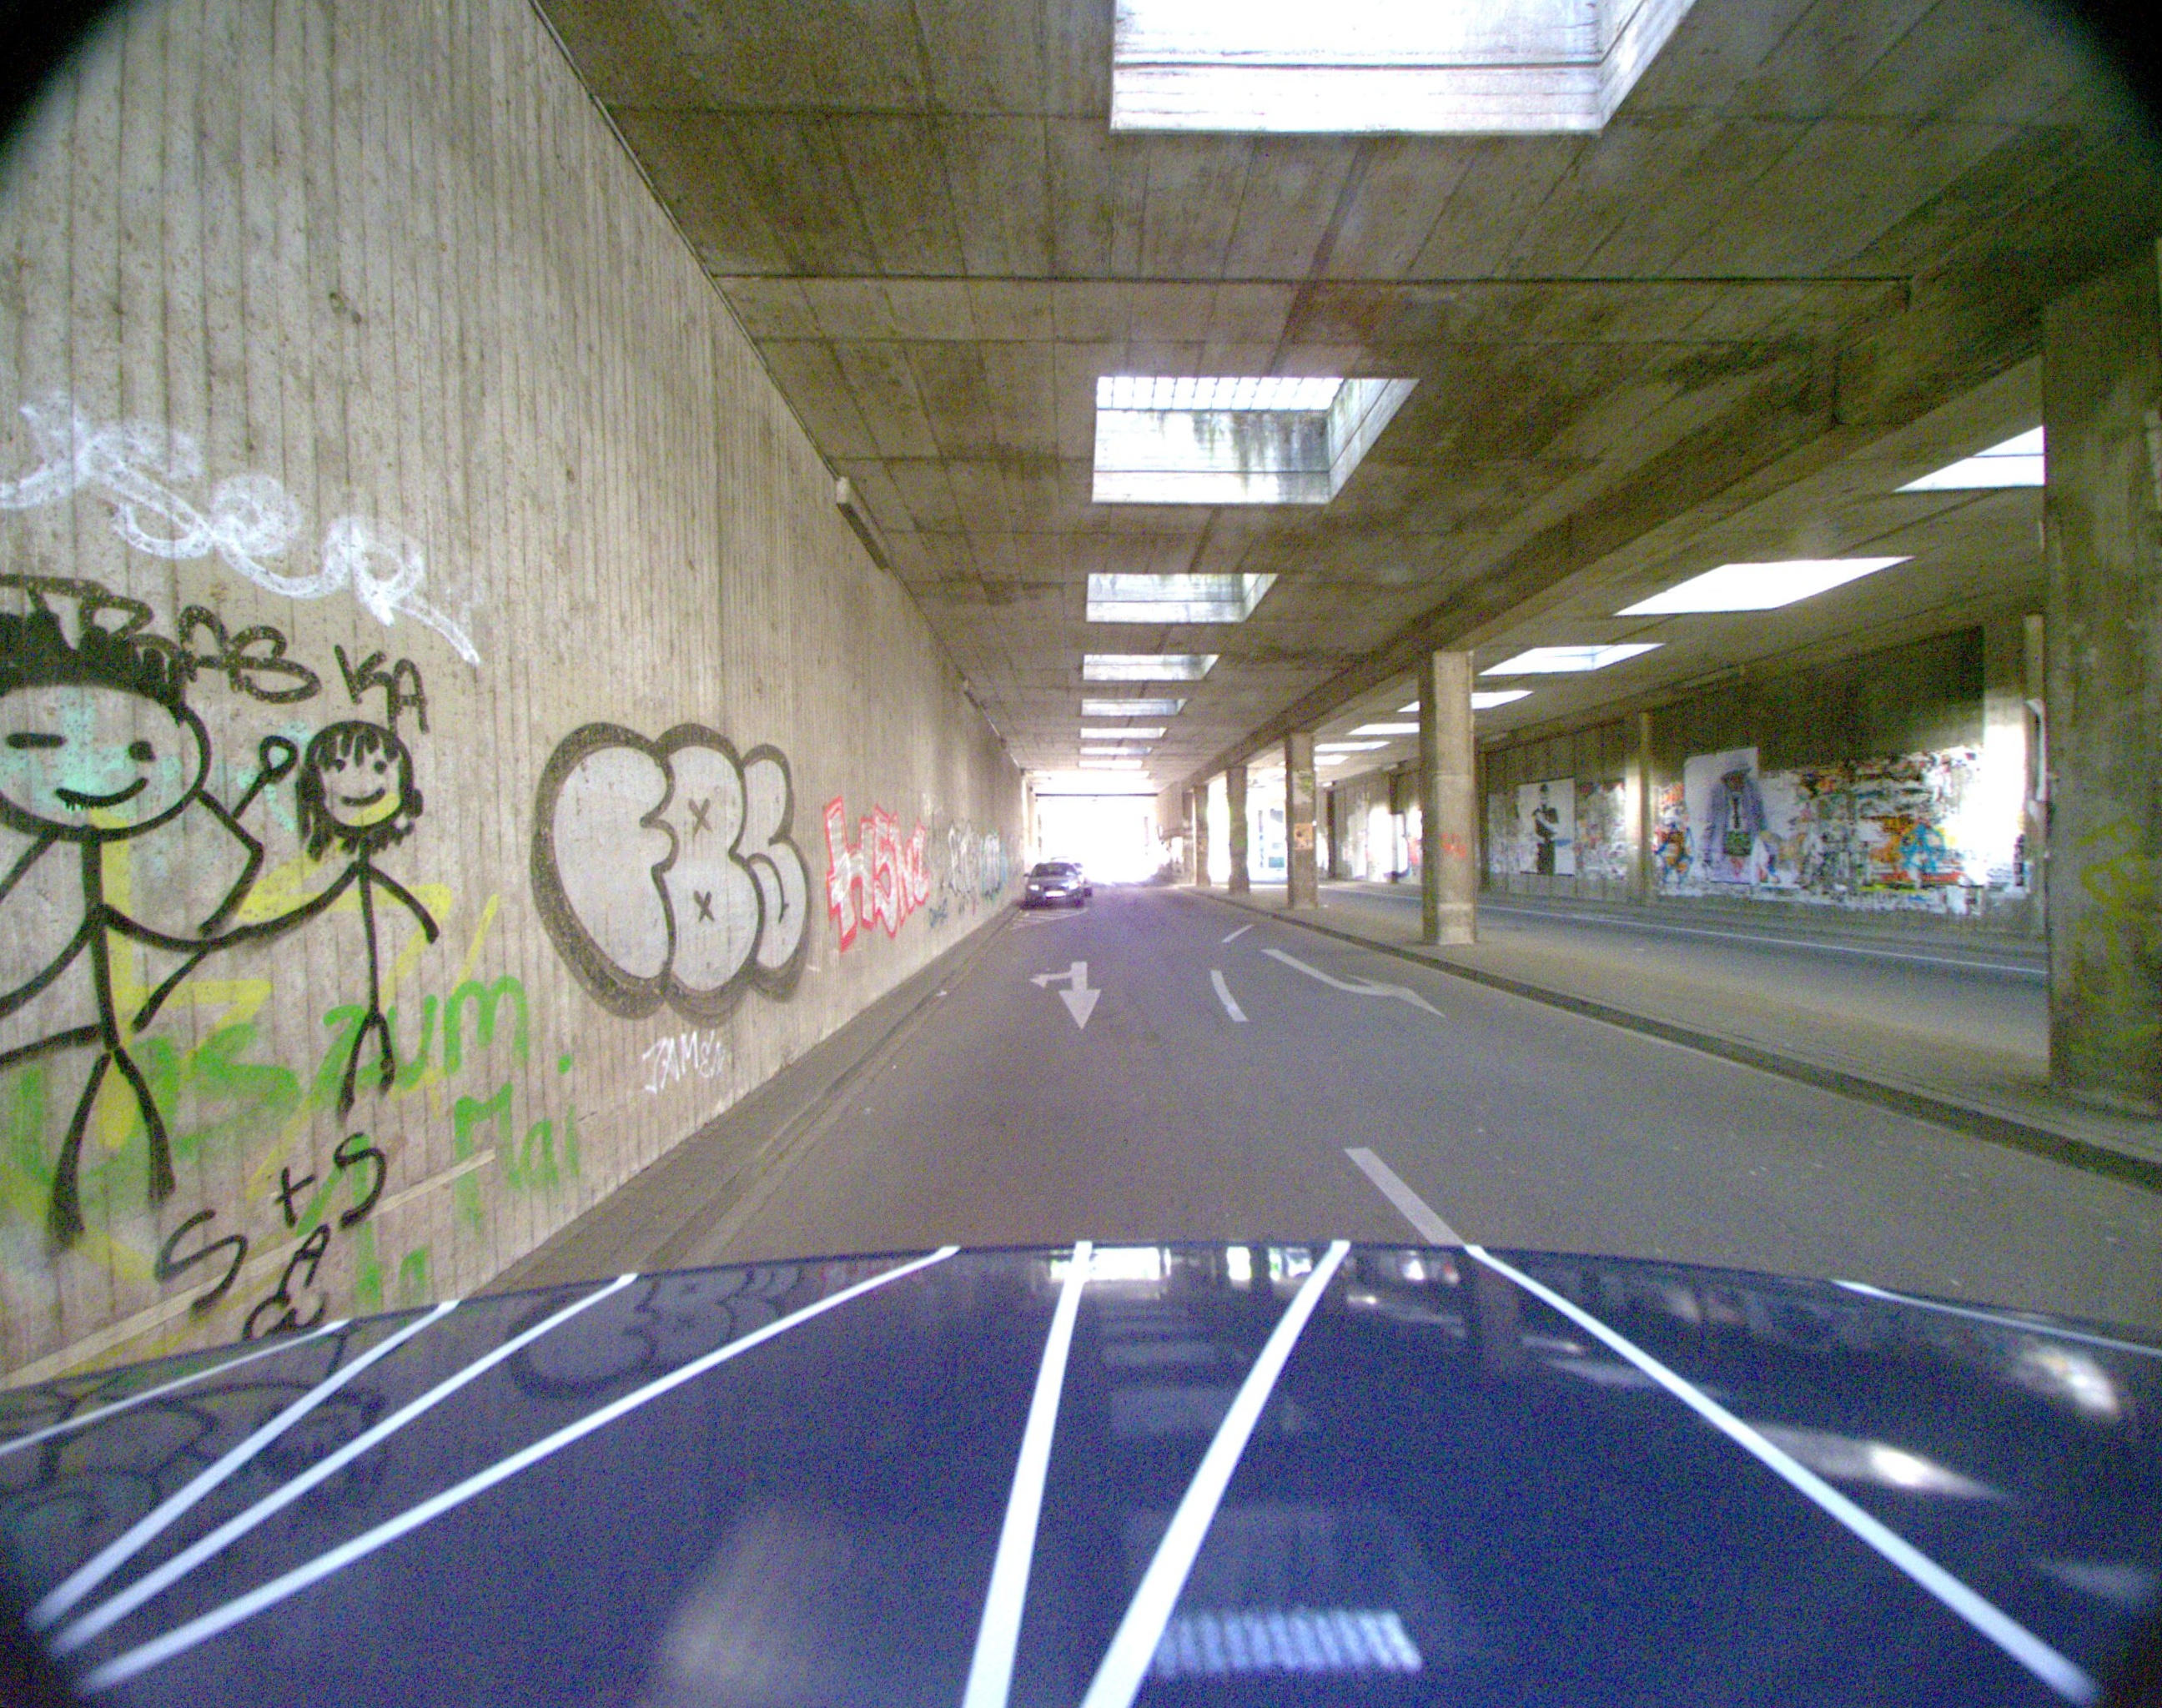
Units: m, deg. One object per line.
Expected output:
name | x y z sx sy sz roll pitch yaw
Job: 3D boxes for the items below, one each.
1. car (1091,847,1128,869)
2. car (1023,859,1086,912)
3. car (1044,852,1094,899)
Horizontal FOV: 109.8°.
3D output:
car | 2.661 0.328 69.395 1.996 1.740 4.865 -2 1 19
car | -0.756 0.920 24.074 1.767 1.407 3.999 -2 1 1
car | -0.502 0.772 29.817 1.767 1.634 3.999 -2 1 -2
